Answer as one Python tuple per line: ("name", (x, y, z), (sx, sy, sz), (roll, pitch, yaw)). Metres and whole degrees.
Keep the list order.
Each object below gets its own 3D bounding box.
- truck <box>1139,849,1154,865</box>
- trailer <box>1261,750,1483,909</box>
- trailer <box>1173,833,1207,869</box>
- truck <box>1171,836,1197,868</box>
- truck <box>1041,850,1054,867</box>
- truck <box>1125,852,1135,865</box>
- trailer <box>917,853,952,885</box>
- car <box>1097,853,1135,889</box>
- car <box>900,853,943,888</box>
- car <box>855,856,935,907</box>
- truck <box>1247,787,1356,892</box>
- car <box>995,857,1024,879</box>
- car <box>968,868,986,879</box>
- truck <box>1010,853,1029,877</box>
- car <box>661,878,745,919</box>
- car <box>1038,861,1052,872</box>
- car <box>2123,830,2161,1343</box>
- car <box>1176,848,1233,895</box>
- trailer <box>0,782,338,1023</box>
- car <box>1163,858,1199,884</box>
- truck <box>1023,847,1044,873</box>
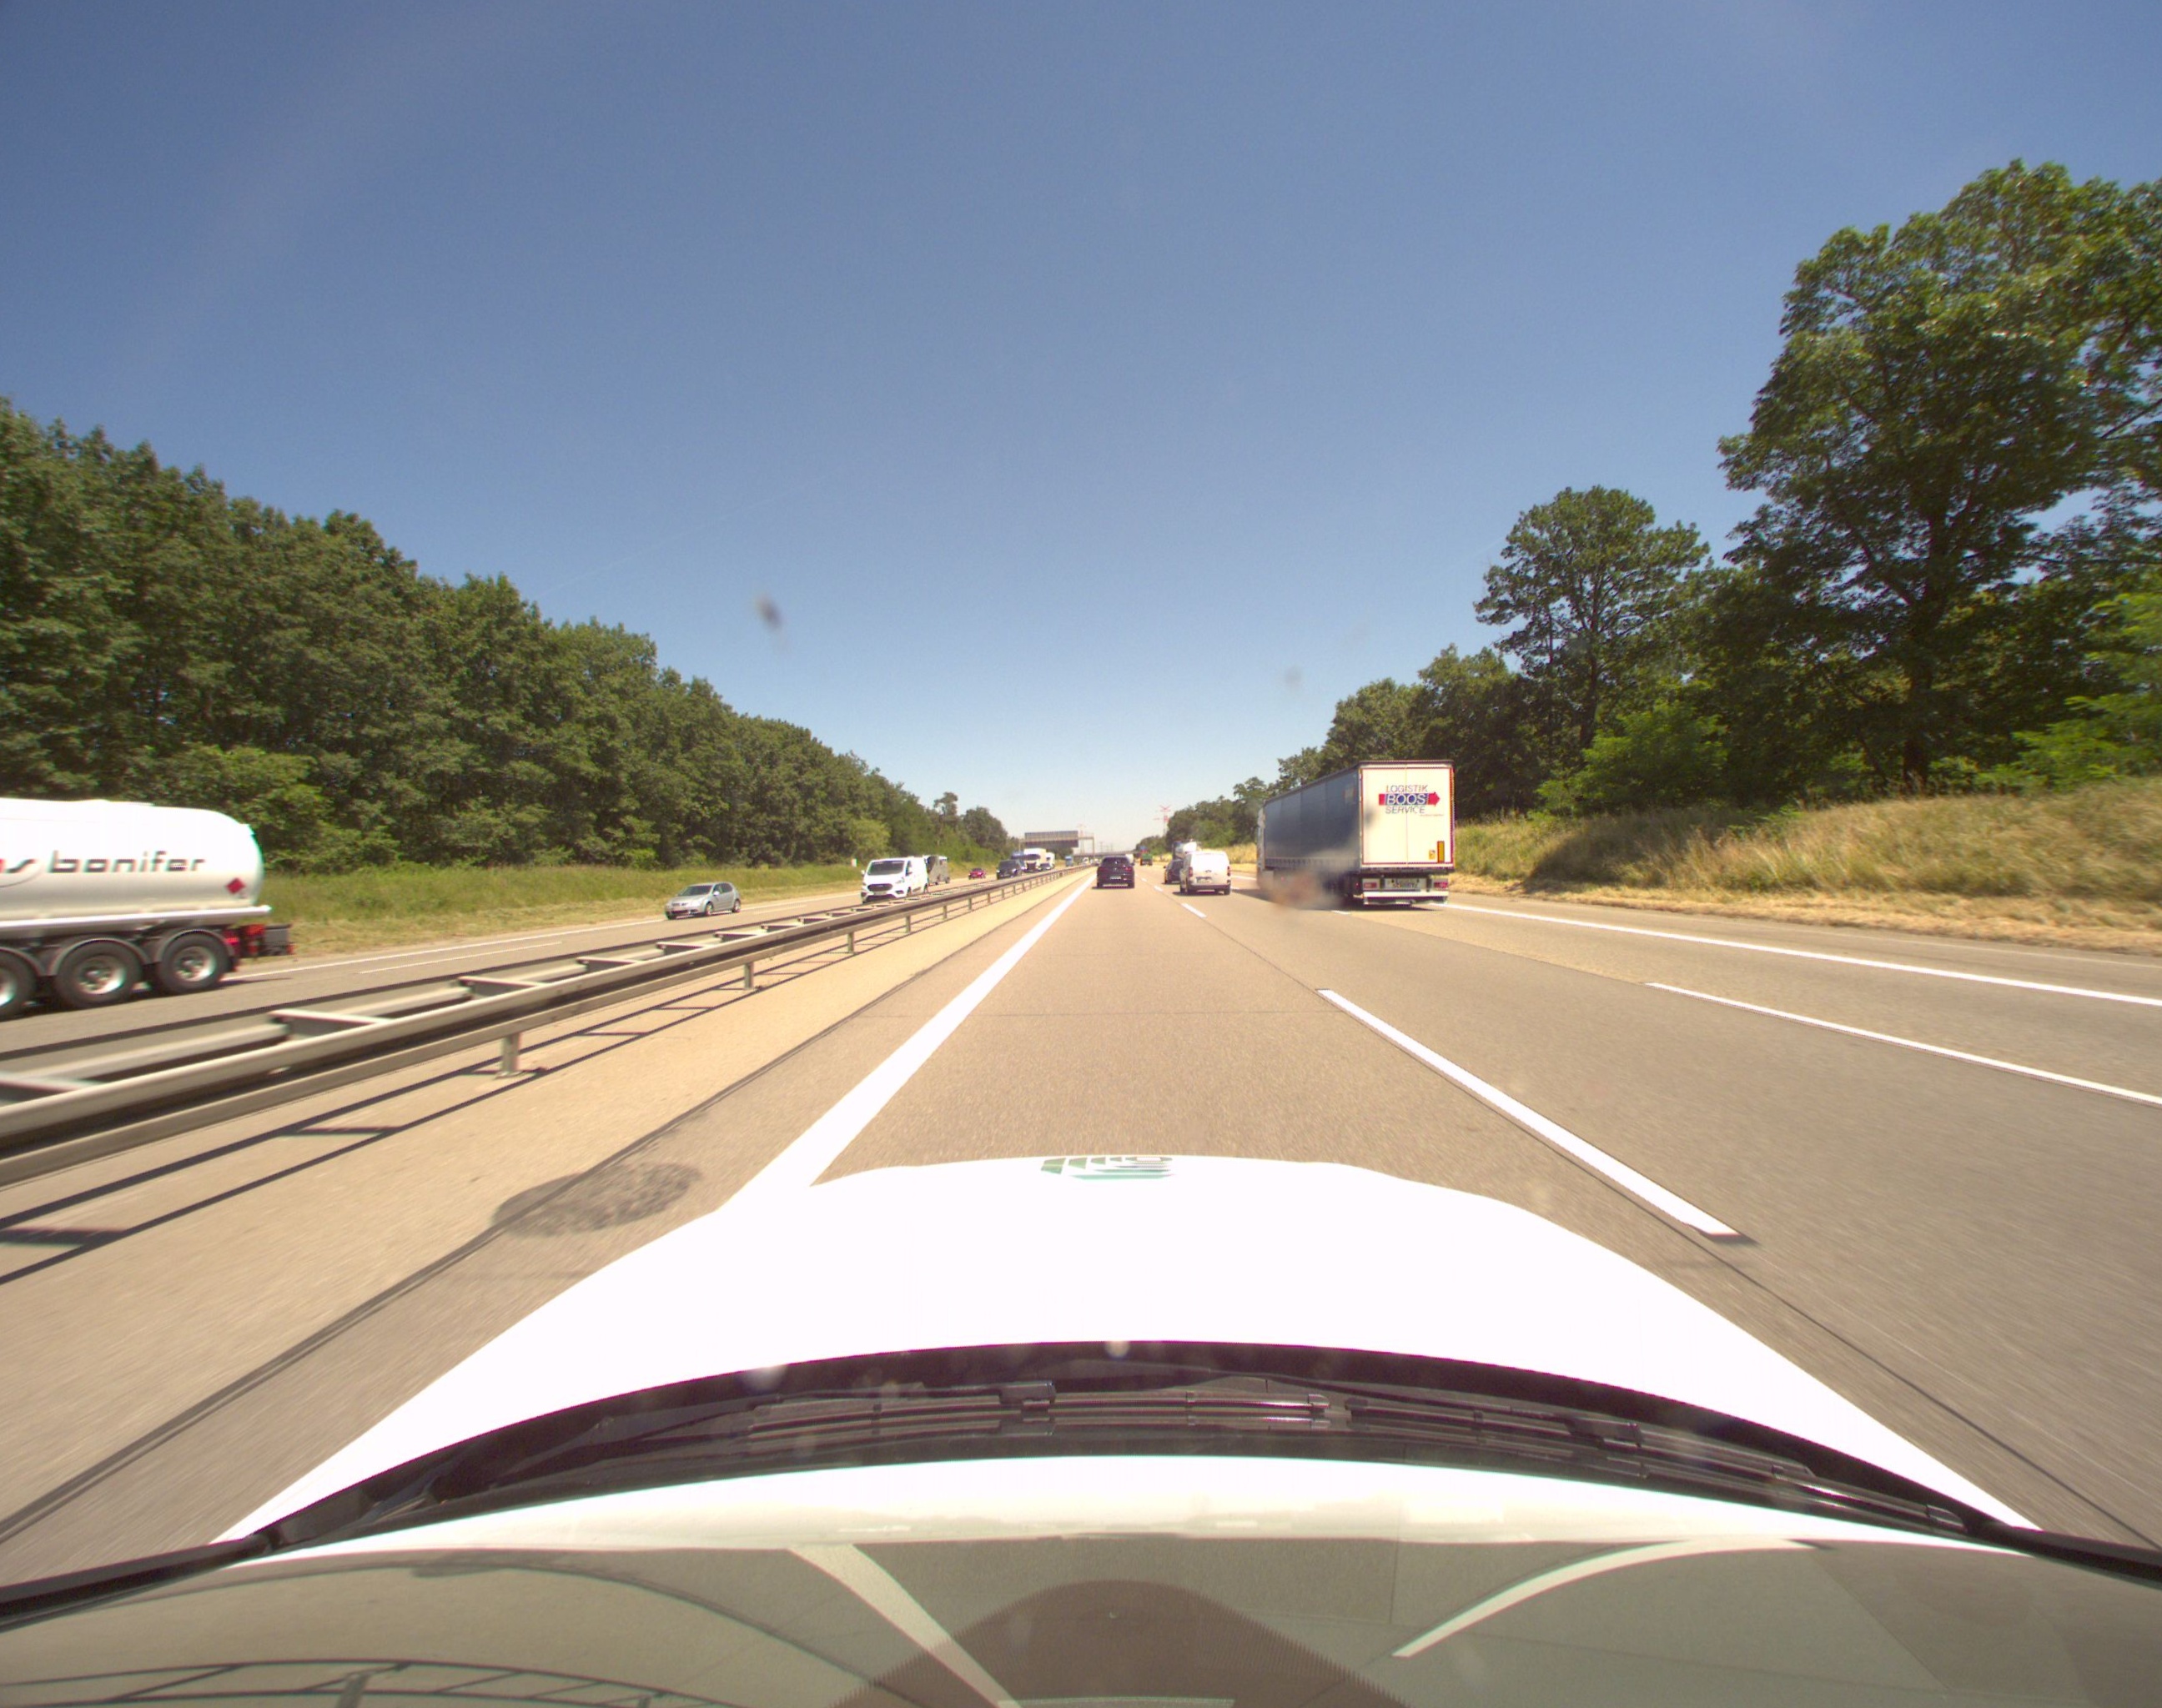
("truck", (15.906, 0.798, 197.864), (2.978, 3.729, 10.092), (0, -1, 2))
("trailer", (9.274, -0.596, 28.534), (3.273, 4.219, 13.569), (0, -1, 2))
("trailer", (12.500, -0.277, 94.612), (2.673, 3.837, 12.014), (0, -1, 2))
("truck", (12.667, -0.221, 100.326), (2.673, 3.837, 4.445), (0, -1, 1))
("truck", (-8.615, 1.236, 210.048), (2.692, 4.186, 6.191), (-4, 0, 1))
("truck", (11.249, 1.090, 188.055), (2.052, 2.914, 7.005), (-2, -1, 2))
("trailer", (-14.034, 1.419, 78.276), (2.205, 2.857, 4.586), (-4, 0, 1))
("car", (1.840, 0.869, 44.433), (1.933, 1.752, 5.815), (-1, 0, 1))
("car", (-14.174, 1.398, 72.695), (2.205, 2.857, 6.455), (-4, 0, 1))
("car", (-8.106, 1.123, 36.139), (1.989, 1.947, 5.743), (-4, 0, 1))
("truck", (9.505, -0.572, 35.817), (3.274, 4.219, 6.009), (0, -1, 1))
("car", (-6.656, 1.313, 76.285), (1.869, 1.847, 5.836), (-4, 0, 2))
("car", (-13.276, 2.468, 104.043), (1.633, 1.276, 4.134), (-4, 0, 1))
("truck", (-11.688, 2.050, 154.766), (2.659, 4.169, 6.191), (-4, 0, 1))
("car", (-16.209, 1.884, 35.130), (1.564, 1.465, 4.036), (-4, 0, 1))
("car", (-5.196, 1.818, 118.707), (1.611, 1.482, 4.626), (-4, 0, 1))
("car", (3.920, 0.661, 0.413), (1.702, 1.495, 4.026), (-1, 0, 2))
("car", (5.230, 0.708, 35.071), (1.807, 1.827, 5.112), (-2, -1, 2))
("trailer", (-16.808, 0.766, 10.760), (2.672, 3.434, 11.804), (-4, 0, 2))
("car", (5.998, 0.991, 49.114), (1.768, 1.472, 3.874), (-2, -1, 2))
("truck", (-7.736, 0.972, 133.954), (2.659, 3.990, 6.343), (-4, 0, 1))
